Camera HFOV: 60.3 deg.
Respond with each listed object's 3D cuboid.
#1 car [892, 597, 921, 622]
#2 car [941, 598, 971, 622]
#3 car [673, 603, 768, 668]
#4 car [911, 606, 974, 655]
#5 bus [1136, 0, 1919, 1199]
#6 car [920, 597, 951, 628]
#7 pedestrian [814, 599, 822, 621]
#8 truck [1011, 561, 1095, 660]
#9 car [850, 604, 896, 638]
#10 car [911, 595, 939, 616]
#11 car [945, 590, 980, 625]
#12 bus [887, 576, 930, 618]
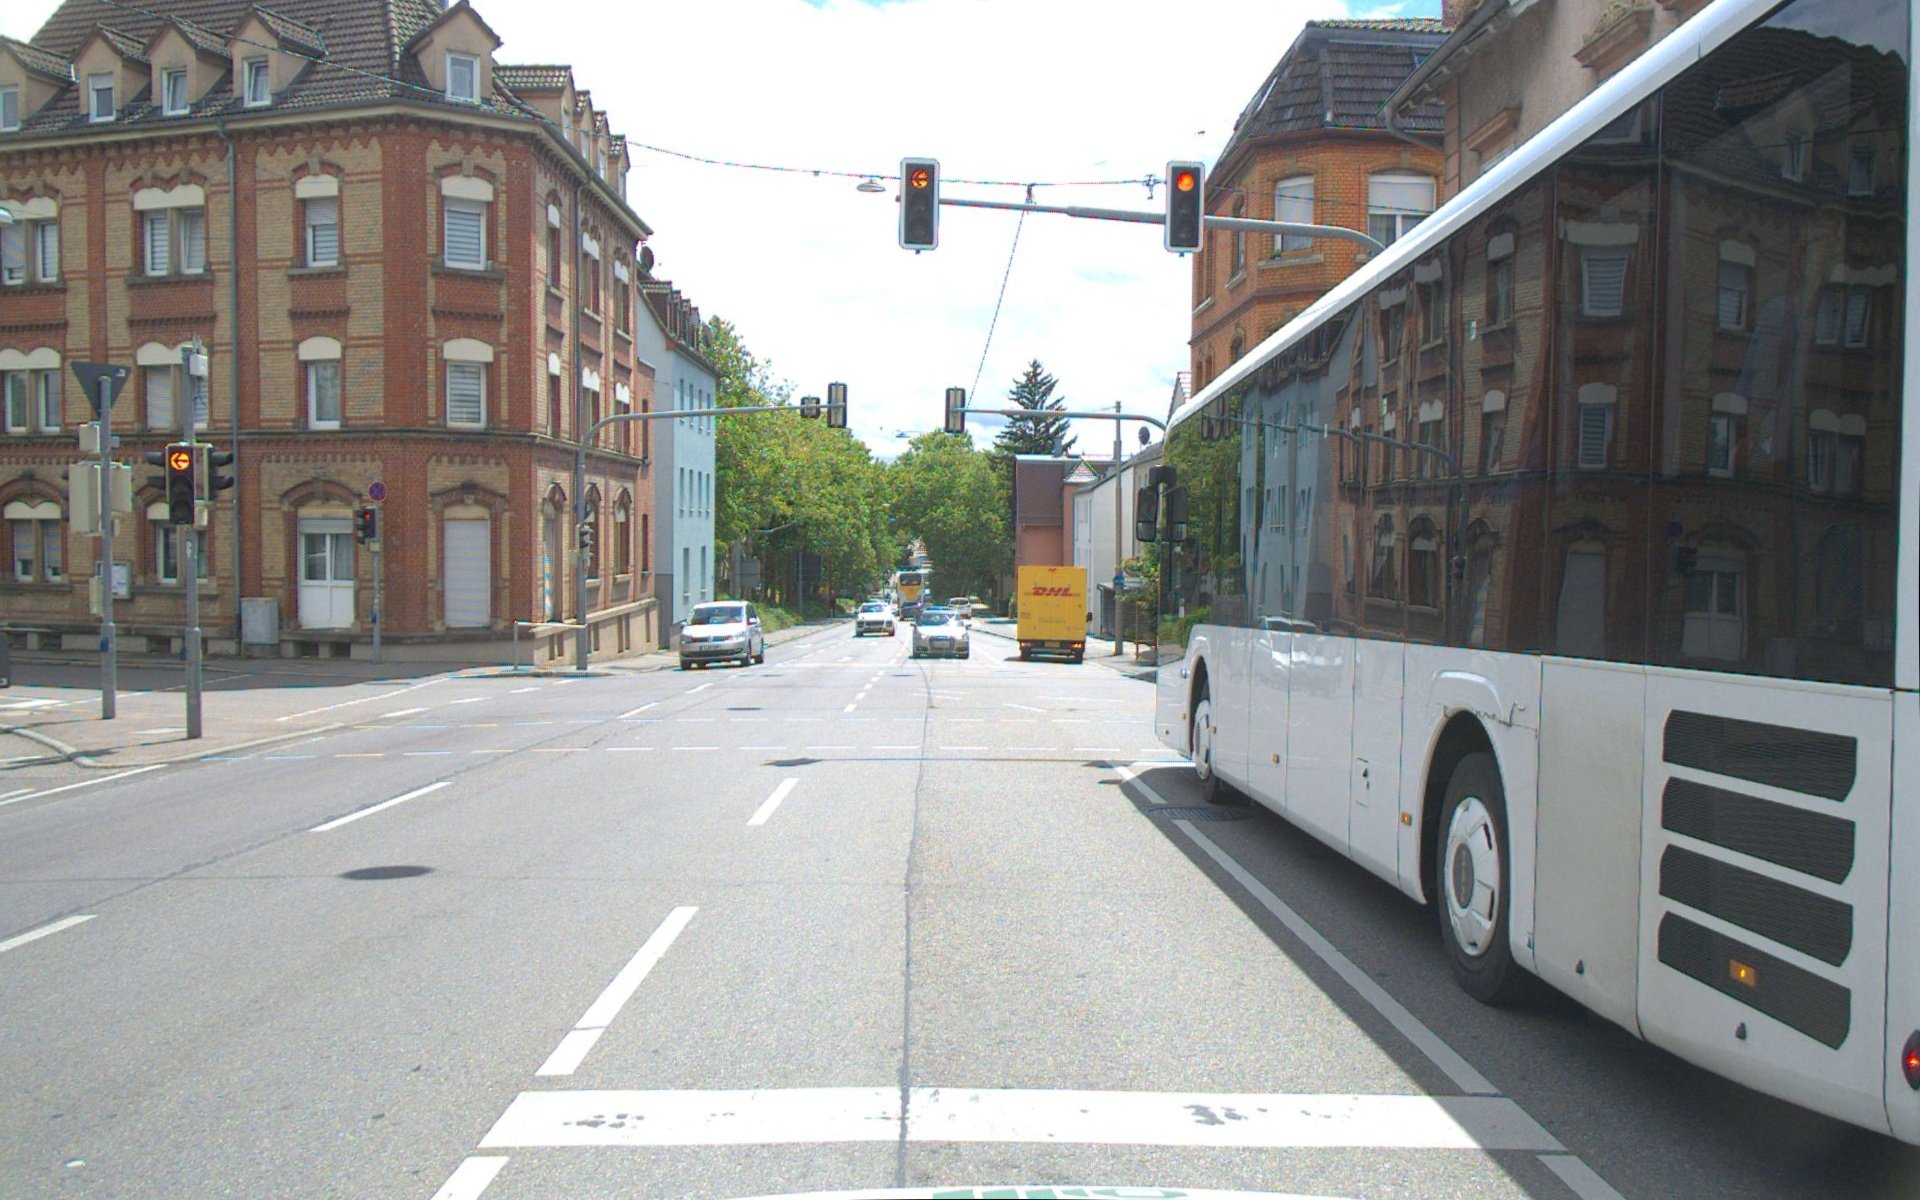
[{"bbox_3d":[-4.082,0.673,125.579,2.050,1.862,4.139,0,0,-4],"label":"car"},{"bbox_3d":[-0.320,0.762,129.548,2.050,1.862,4.139,0,0,-4],"label":"car"},{"bbox_3d":[-6.190,0.890,43.219,1.896,1.591,4.388,0,0,-1],"label":"car"},{"bbox_3d":[-0.547,0.899,50.383,1.827,1.391,4.546,0,0,-1],"label":"car"},{"bbox_3d":[3.200,-0.311,9.354,2.845,3.571,12.484,1,0,-1],"label":"bus"},{"bbox_3d":[-1.471,0.759,99.389,1.782,1.816,3.999,0,0,-1],"label":"car"},{"bbox_3d":[-11.703,0.847,136.368,0.594,1.789,0.653,0,0,-2],"label":"pedestrian"},{"bbox_3d":[2.967,0.334,53.203,2.488,2.964,6.574,1,0,3],"label":"truck"},{"bbox_3d":[-4.405,1.062,84.157,2.162,1.641,4.546,0,0,-1],"label":"car"},{"bbox_3d":[-2.333,0.364,112.006,1.827,1.391,4.546,0,0,-1],"label":"car"},{"bbox_3d":[0.135,0.434,99.837,1.954,2.049,3.998,0,0,-3],"label":"car"},{"bbox_3d":[-4.795,-0.296,151.576,3.236,3.694,11.232,-1,0,-5],"label":"bus"}]
